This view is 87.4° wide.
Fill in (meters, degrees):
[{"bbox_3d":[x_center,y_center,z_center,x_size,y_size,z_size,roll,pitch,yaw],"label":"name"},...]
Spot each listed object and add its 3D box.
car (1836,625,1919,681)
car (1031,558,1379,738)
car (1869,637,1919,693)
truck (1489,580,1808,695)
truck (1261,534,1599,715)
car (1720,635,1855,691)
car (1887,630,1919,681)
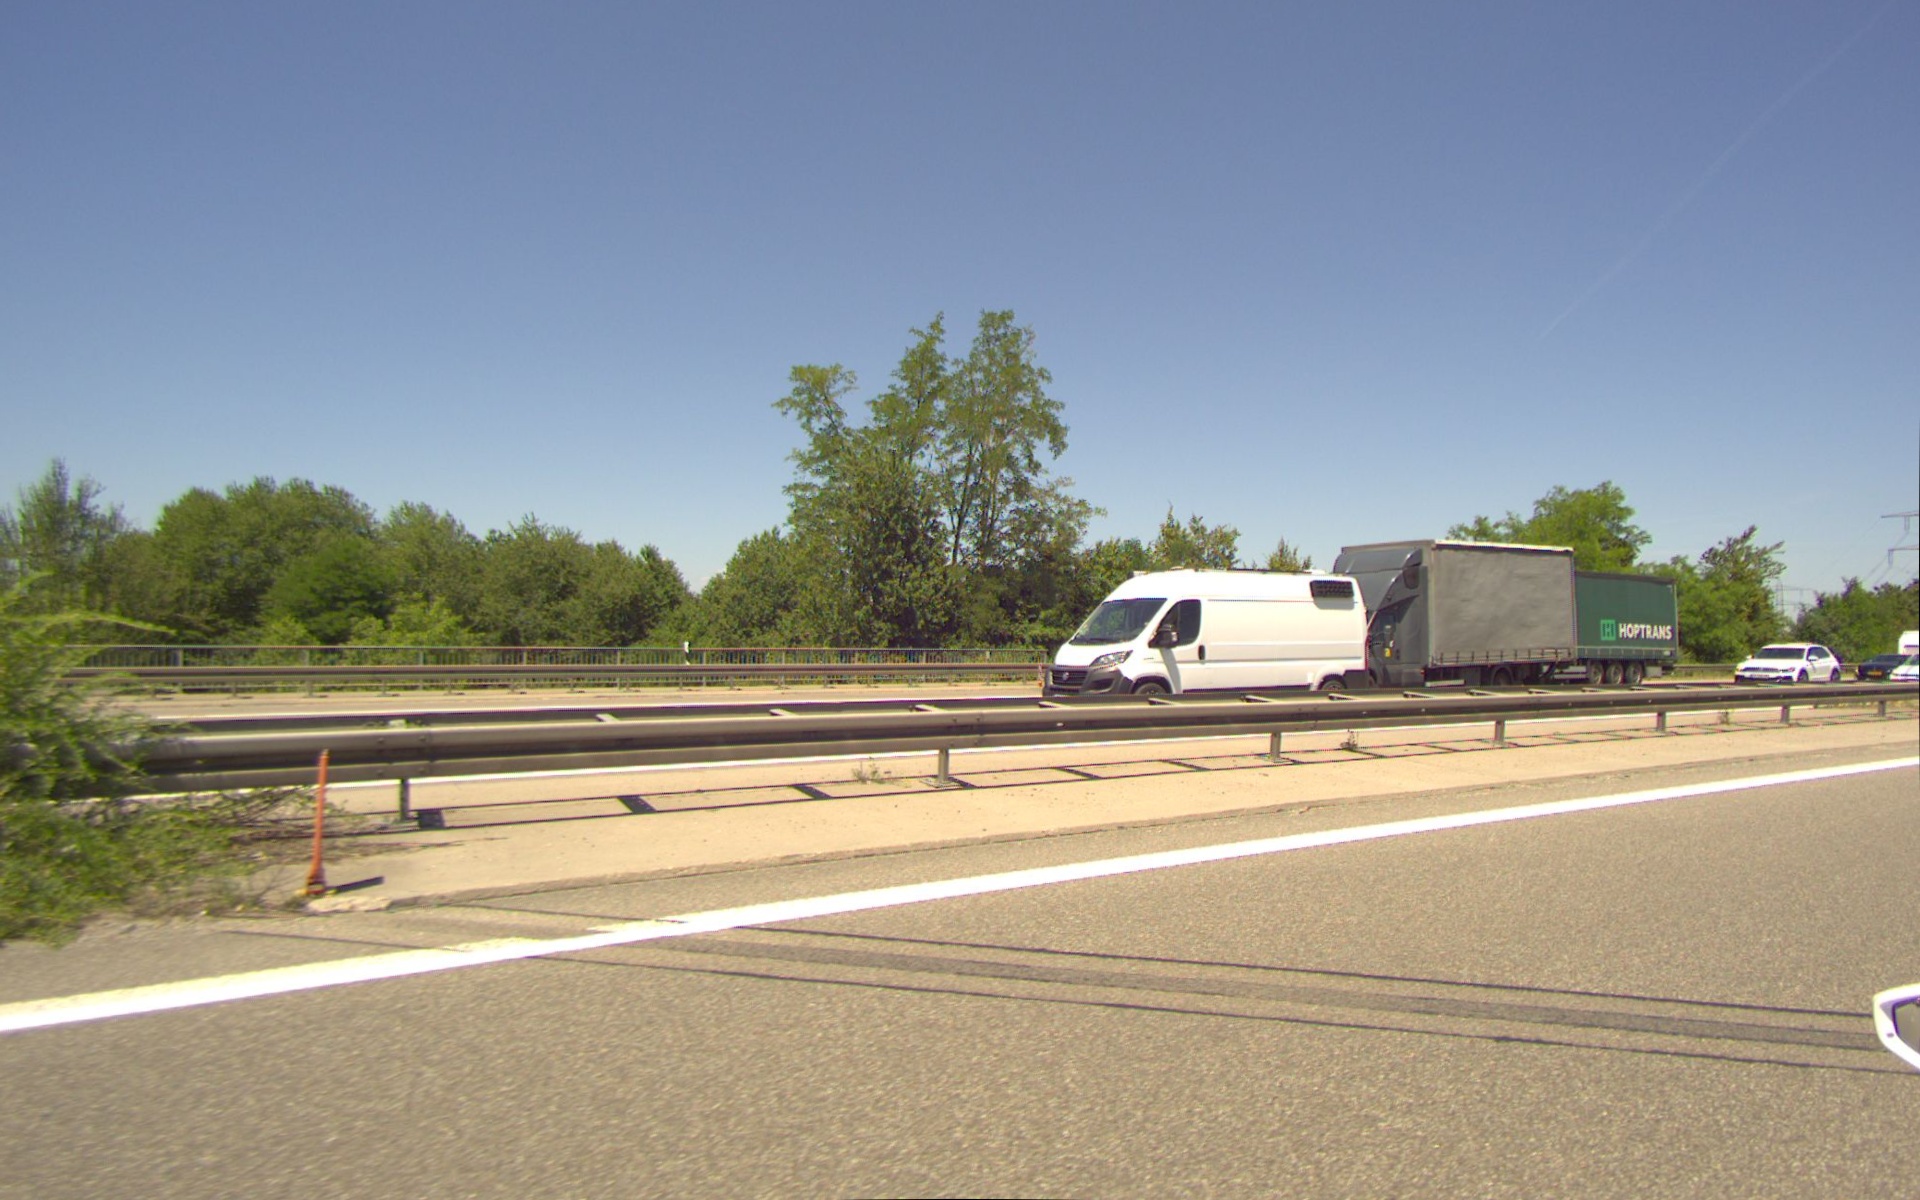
[{"bbox_3d":[46.418,2.615,50.096,5.650,2.649,2.407,2,-3,-30],"label":"car"},{"bbox_3d":[4.269,0.784,17.079,5.967,2.618,2.159,1,-2,-30],"label":"car"},{"bbox_3d":[33.087,2.172,33.940,5.048,1.815,2.065,2,-3,-30],"label":"car"},{"bbox_3d":[27.313,1.468,39.185,16.809,3.853,3.229,2,0,-30],"label":"truck"},{"bbox_3d":[12.140,0.654,25.559,9.381,3.971,2.843,2,0,-30],"label":"truck"},{"bbox_3d":[29.284,2.182,35.525,5.048,1.855,2.065,2,-3,-30],"label":"car"},{"bbox_3d":[52.003,2.949,53.448,5.650,2.649,2.407,2,-3,-30],"label":"car"}]
